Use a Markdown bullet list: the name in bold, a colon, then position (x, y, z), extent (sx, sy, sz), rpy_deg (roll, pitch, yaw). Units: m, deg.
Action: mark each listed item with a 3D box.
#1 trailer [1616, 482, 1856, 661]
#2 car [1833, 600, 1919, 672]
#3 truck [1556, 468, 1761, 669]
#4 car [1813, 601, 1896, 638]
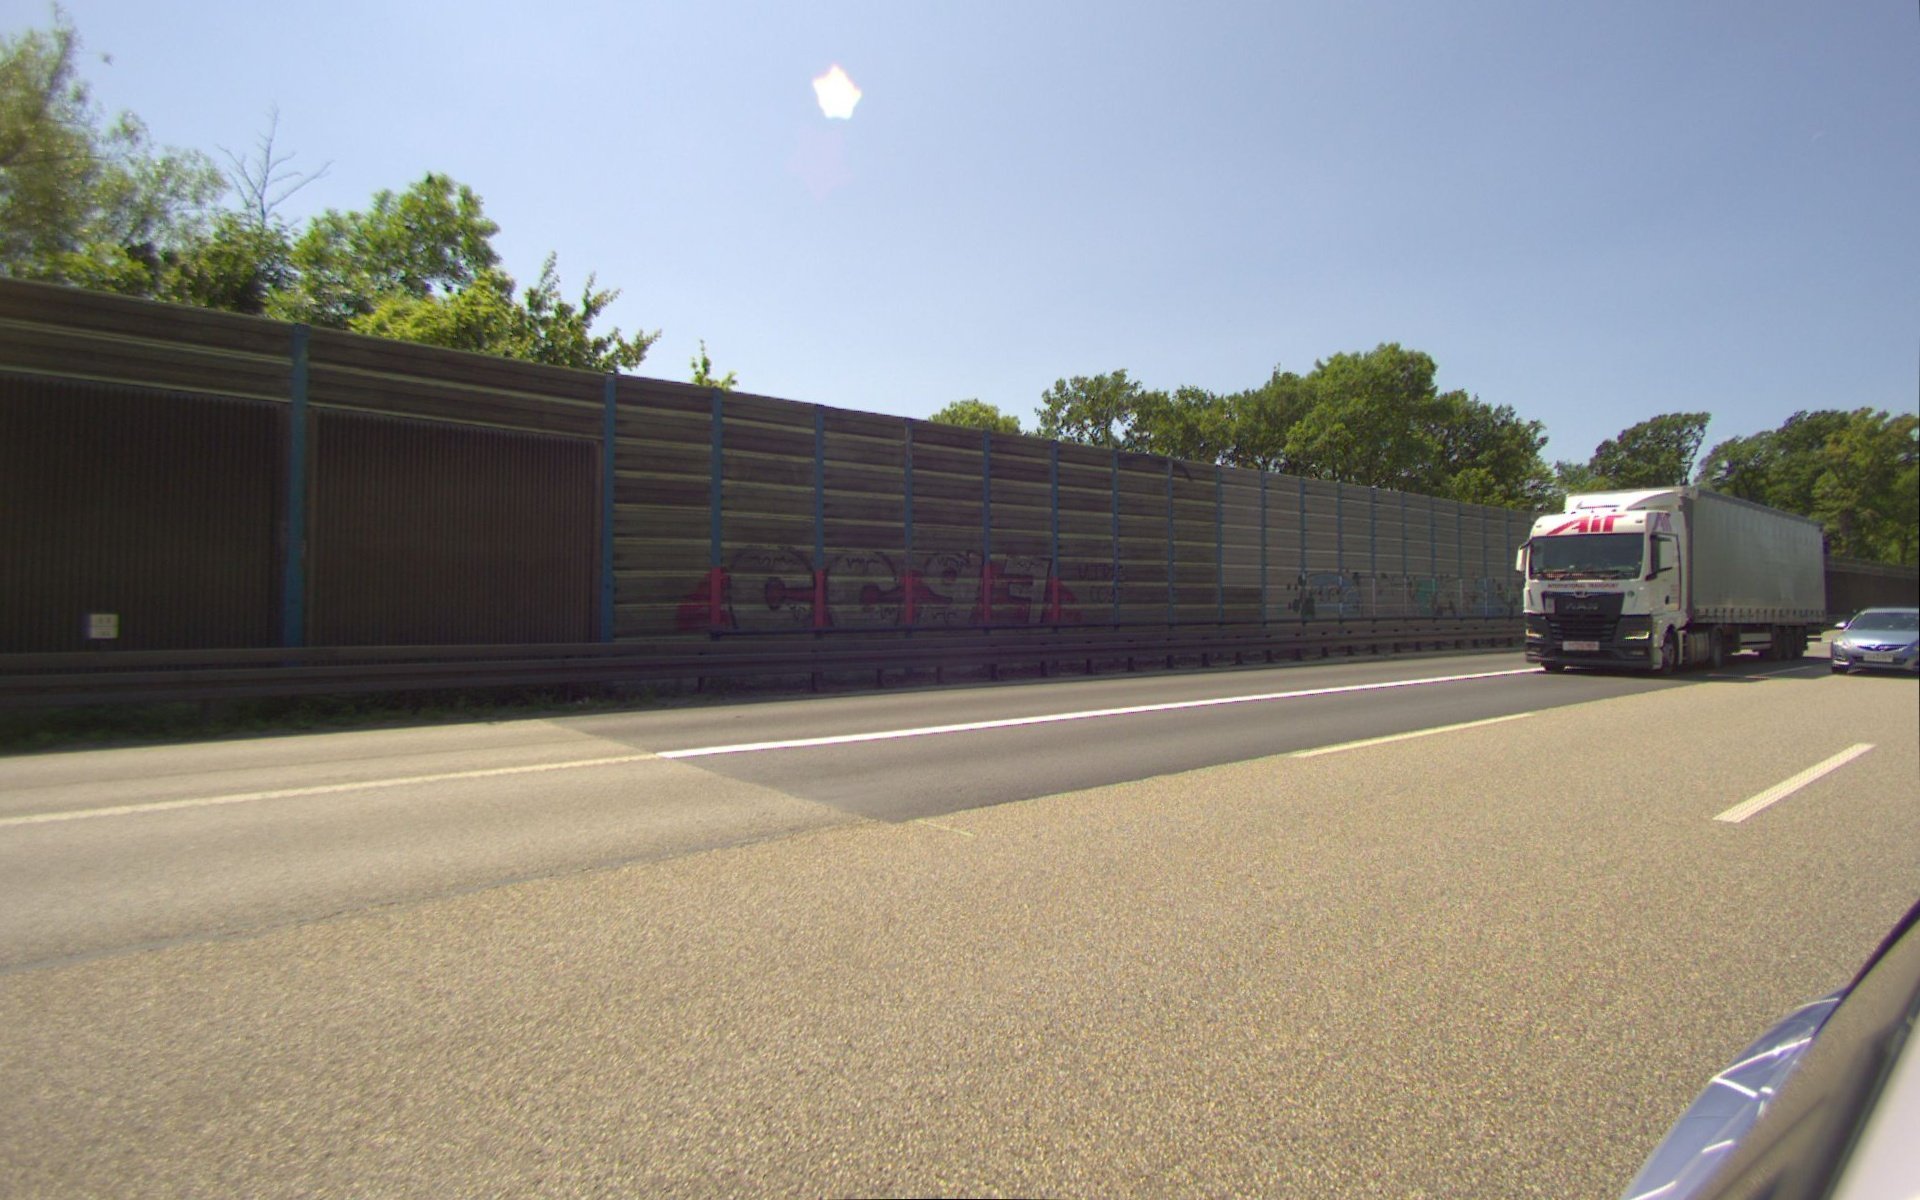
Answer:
- **trailer**: position (22.425, -0.685, 28.725), extent (13.350, 4.142, 2.603), rpy_deg (0, 0, -40)
- **car**: position (20.788, 0.742, 22.118), extent (4.100, 1.452, 1.860), rpy_deg (1, -1, -39)
- **truck**: position (16.386, -0.661, 23.632), extent (5.454, 4.142, 2.603), rpy_deg (0, 0, -40)
- **car**: position (38.726, 0.812, 43.772), extent (4.098, 1.512, 1.861), rpy_deg (1, -1, -36)
